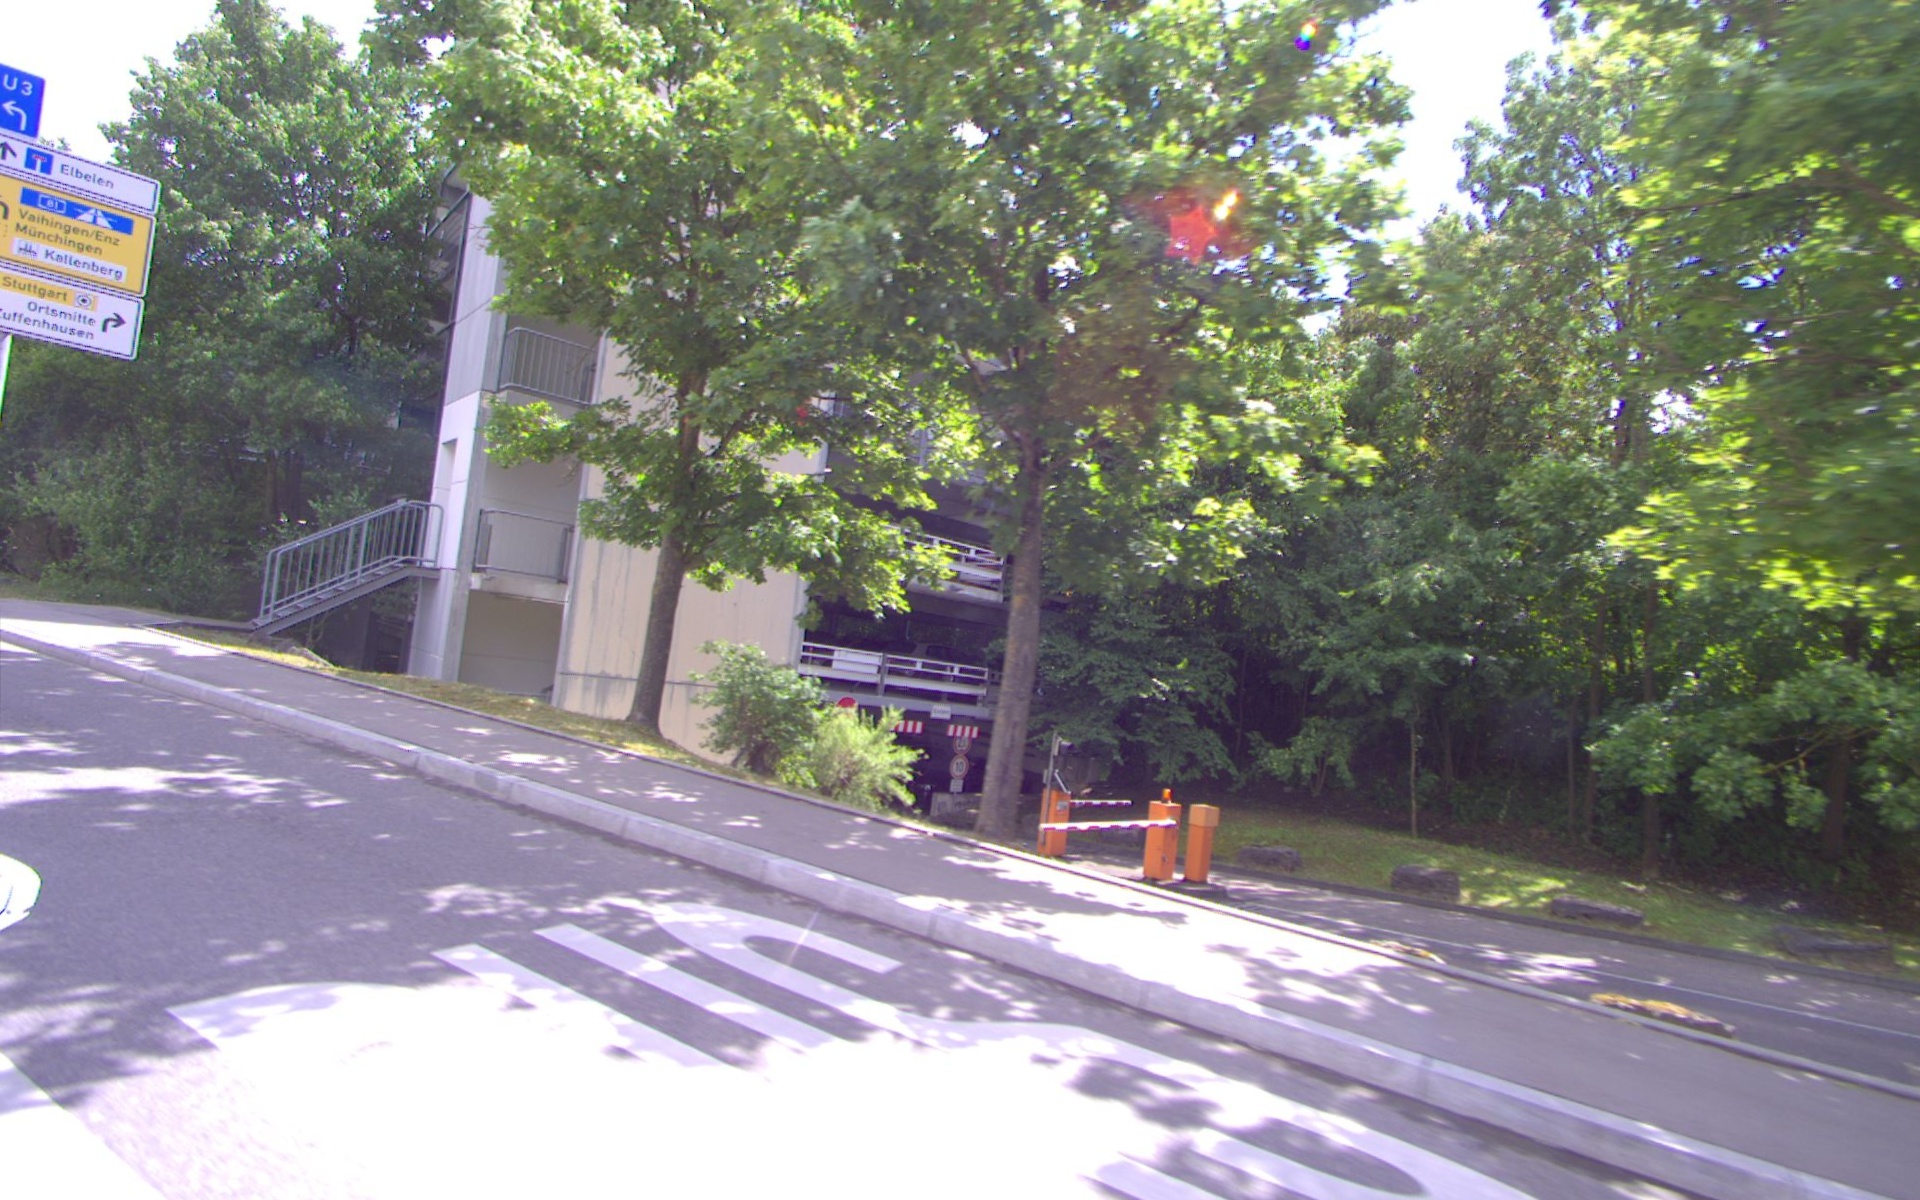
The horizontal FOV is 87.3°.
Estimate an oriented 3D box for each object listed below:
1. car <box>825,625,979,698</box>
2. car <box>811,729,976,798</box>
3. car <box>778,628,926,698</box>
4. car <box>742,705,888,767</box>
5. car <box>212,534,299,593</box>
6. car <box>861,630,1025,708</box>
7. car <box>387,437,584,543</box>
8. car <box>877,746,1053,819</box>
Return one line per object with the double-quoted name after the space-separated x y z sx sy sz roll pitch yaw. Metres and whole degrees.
-1.794 1.955 31.703 4.292 1.648 1.982 10 -3 -35 "car"
-1.904 4.779 29.275 4.292 1.434 1.982 10 -3 -35 "car"
-3.513 2.072 32.995 4.292 1.648 1.982 10 -3 -35 "car"
-4.792 4.540 33.473 4.292 1.505 1.982 10 -3 -35 "car"
-25.518 -1.333 36.396 3.659 1.820 1.872 5 -2 45 "car"
-0.460 2.032 29.431 4.292 1.648 1.982 10 -3 -35 "car"
-11.107 -2.498 23.646 3.751 1.642 1.647 10 -3 -40 "car"
0.173 4.961 27.248 4.292 1.434 1.982 10 -3 -35 "car"
